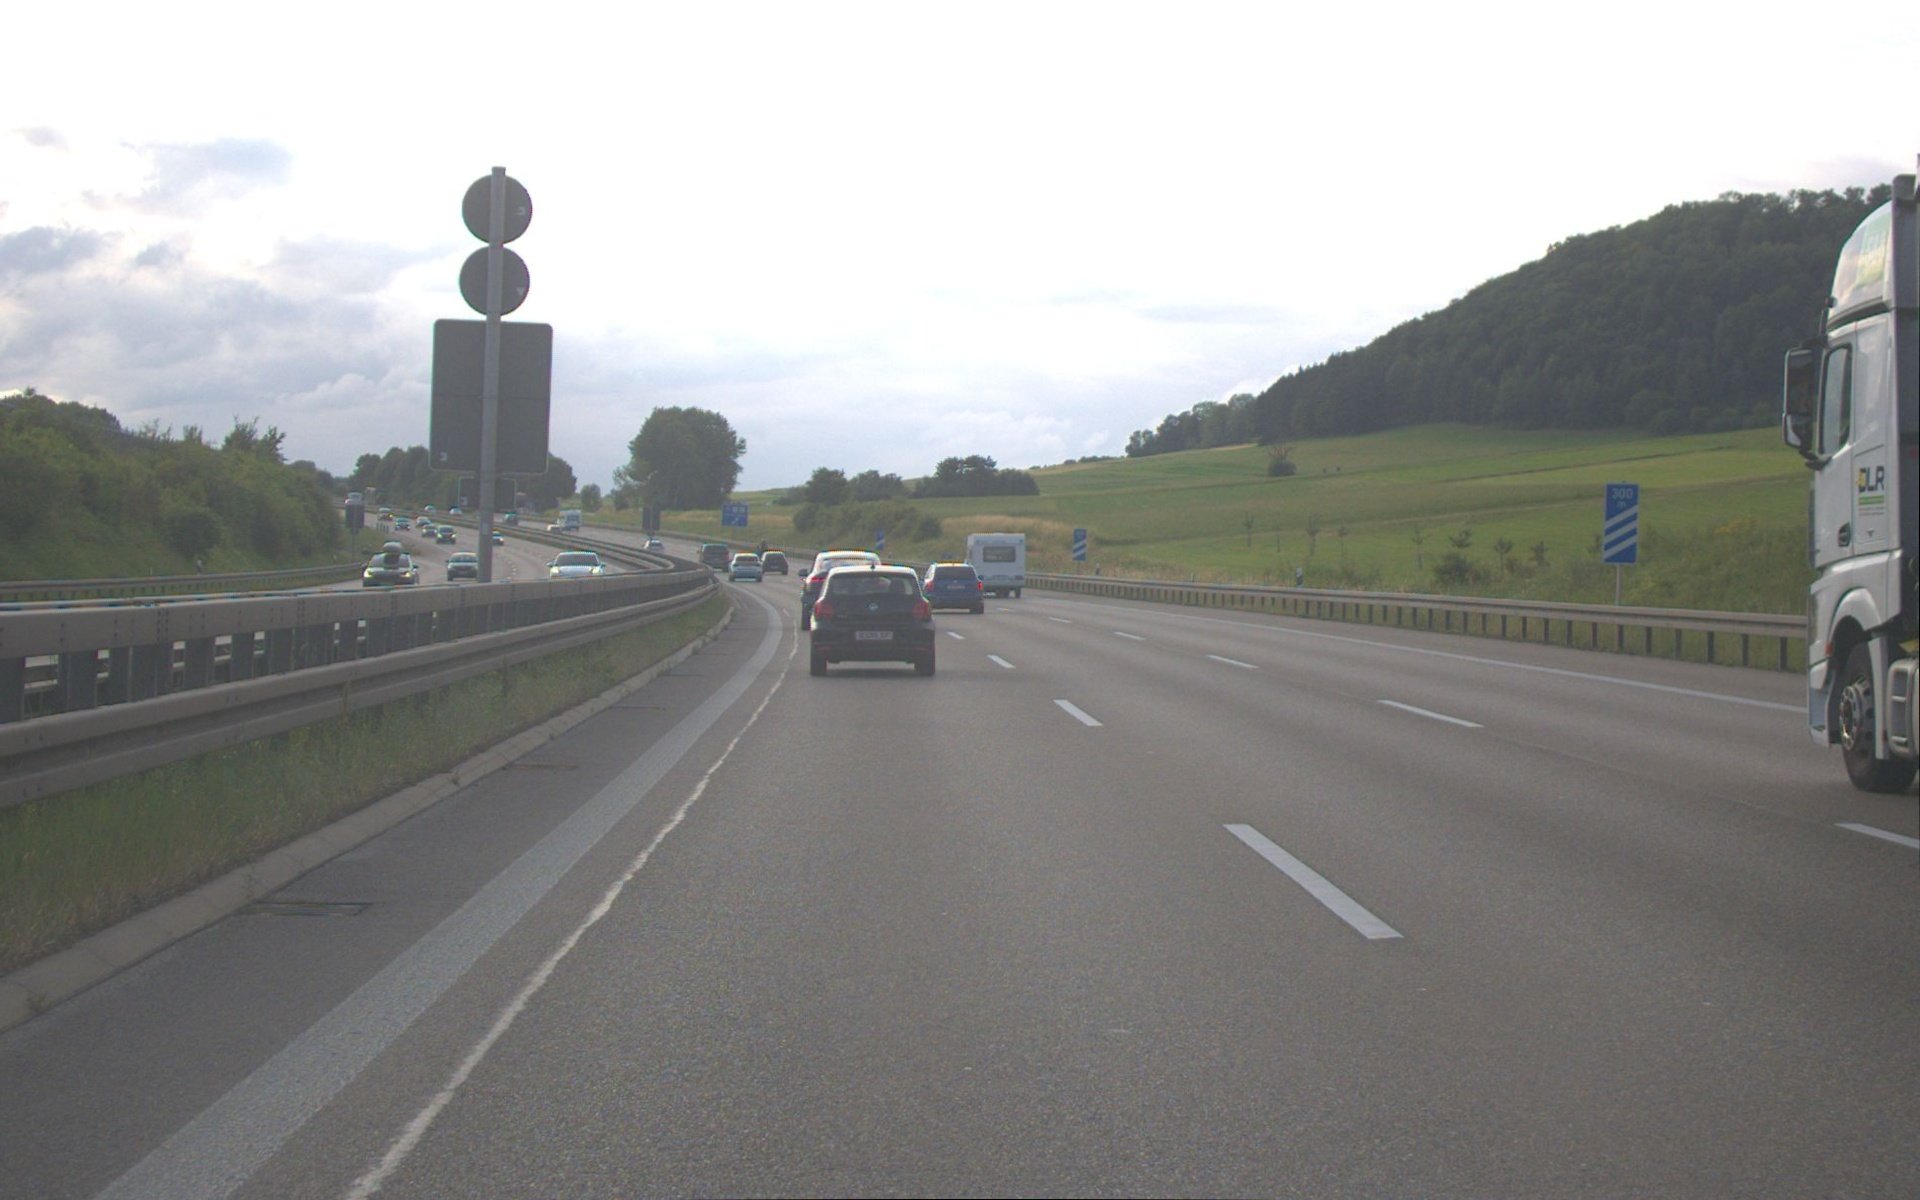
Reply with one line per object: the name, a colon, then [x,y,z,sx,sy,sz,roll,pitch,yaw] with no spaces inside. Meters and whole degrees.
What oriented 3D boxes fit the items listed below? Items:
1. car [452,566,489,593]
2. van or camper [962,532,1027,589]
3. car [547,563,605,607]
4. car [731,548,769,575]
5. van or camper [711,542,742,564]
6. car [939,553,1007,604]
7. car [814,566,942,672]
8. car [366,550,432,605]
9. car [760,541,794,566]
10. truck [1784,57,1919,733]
car: [-26.147,-1.111,183.680,1.706,1.410,4.001,1,1,-5]
van or camper: [1.390,-1.573,136.600,2.548,2.232,5.329,0,1,1]
car: [-14.271,-0.564,127.945,1.833,1.586,5.020,1,0,-3]
car: [-11.564,-2.117,189.052,1.766,1.428,4.001,0,1,-8]
van or camper: [-15.564,-3.132,229.516,1.966,1.428,4.000,1,1,-2]
car: [0.359,-0.629,98.355,1.766,1.428,4.000,0,1,-2]
car: [-1.067,0.228,46.240,1.538,1.343,3.677,0,1,1]
car: [-21.247,-0.861,130.325,1.962,2.033,5.020,-1,1,-3]
car: [-11.830,-3.028,222.398,1.957,1.568,4.000,0,1,0]
truck: [7.211,-1.121,14.454,2.964,3.978,17.733,0,1,-1]
